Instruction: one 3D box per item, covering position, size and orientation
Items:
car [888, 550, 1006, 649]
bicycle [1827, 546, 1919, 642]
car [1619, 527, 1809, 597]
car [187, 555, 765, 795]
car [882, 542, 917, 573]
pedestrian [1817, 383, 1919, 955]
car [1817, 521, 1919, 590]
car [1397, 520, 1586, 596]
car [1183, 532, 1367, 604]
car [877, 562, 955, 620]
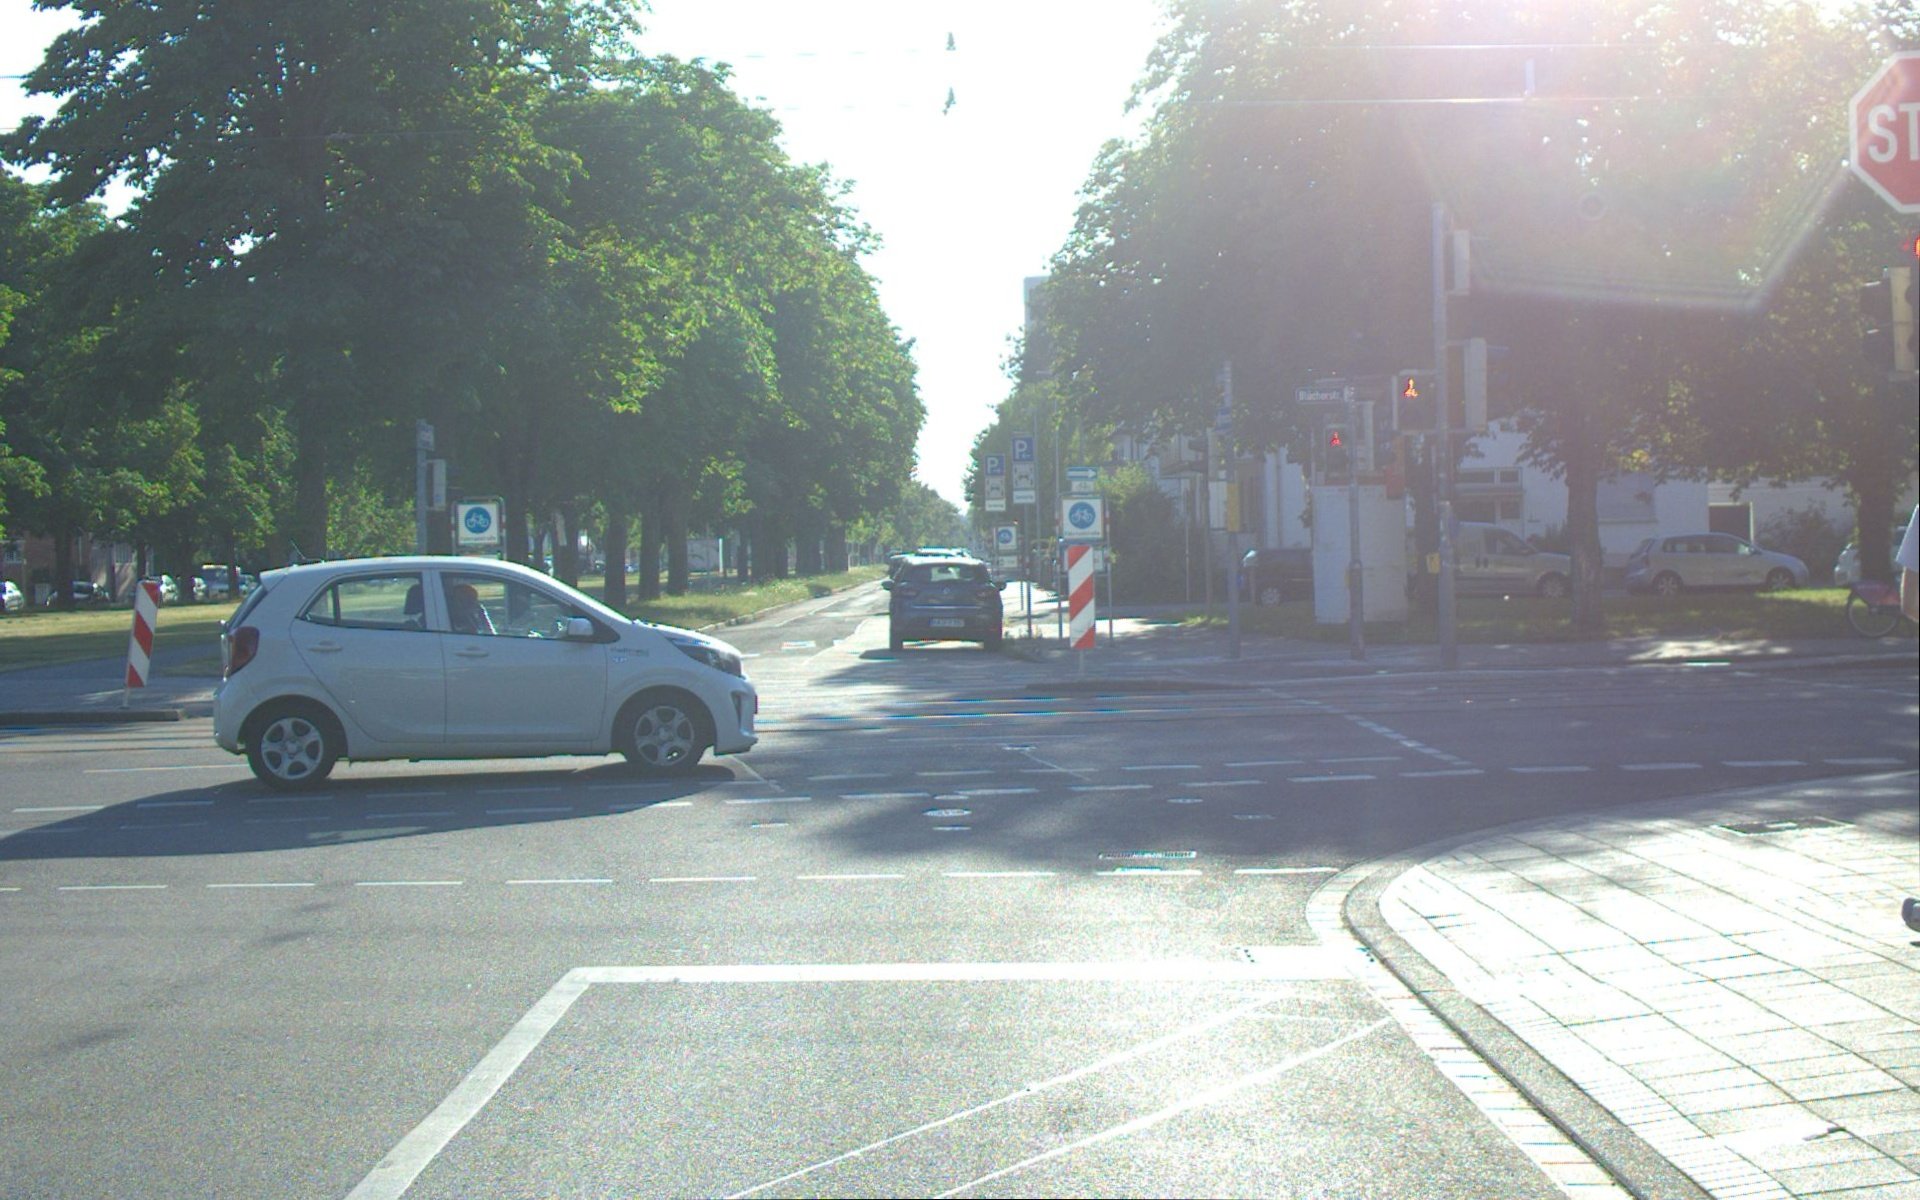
[{"bbox_3d":[-0.172,-0.037,52.996,1.641,1.446,3.307,-1,1,3],"label":"car"},{"bbox_3d":[11.530,-0.086,41.492,1.954,1.128,0.620,-1,1,3],"label":"bicycle"},{"bbox_3d":[16.157,-0.815,73.740,3.663,1.422,1.532,-1,1,-4],"label":"car"},{"bbox_3d":[-3.259,0.463,23.056,3.685,1.483,1.742,-1,1,-11],"label":"car"},{"bbox_3d":[-3.921,-2.799,224.481,2.134,2.007,3.901,-1,1,1],"label":"car"},{"bbox_3d":[3.391,0.208,11.441,0.670,1.859,0.882,-4,1,-6],"label":"pedestrian"},{"bbox_3d":[20.685,-0.982,74.332,3.845,1.422,1.598,-1,1,-4],"label":"car"},{"bbox_3d":[11.422,-0.917,73.985,3.780,1.520,1.744,-1,2,0],"label":"car"},{"bbox_3d":[6.742,-0.692,73.844,3.780,1.422,1.744,-1,2,0],"label":"car"},{"bbox_3d":[-1.092,-0.245,87.004,1.845,1.389,3.829,-1,1,1],"label":"car"}]
